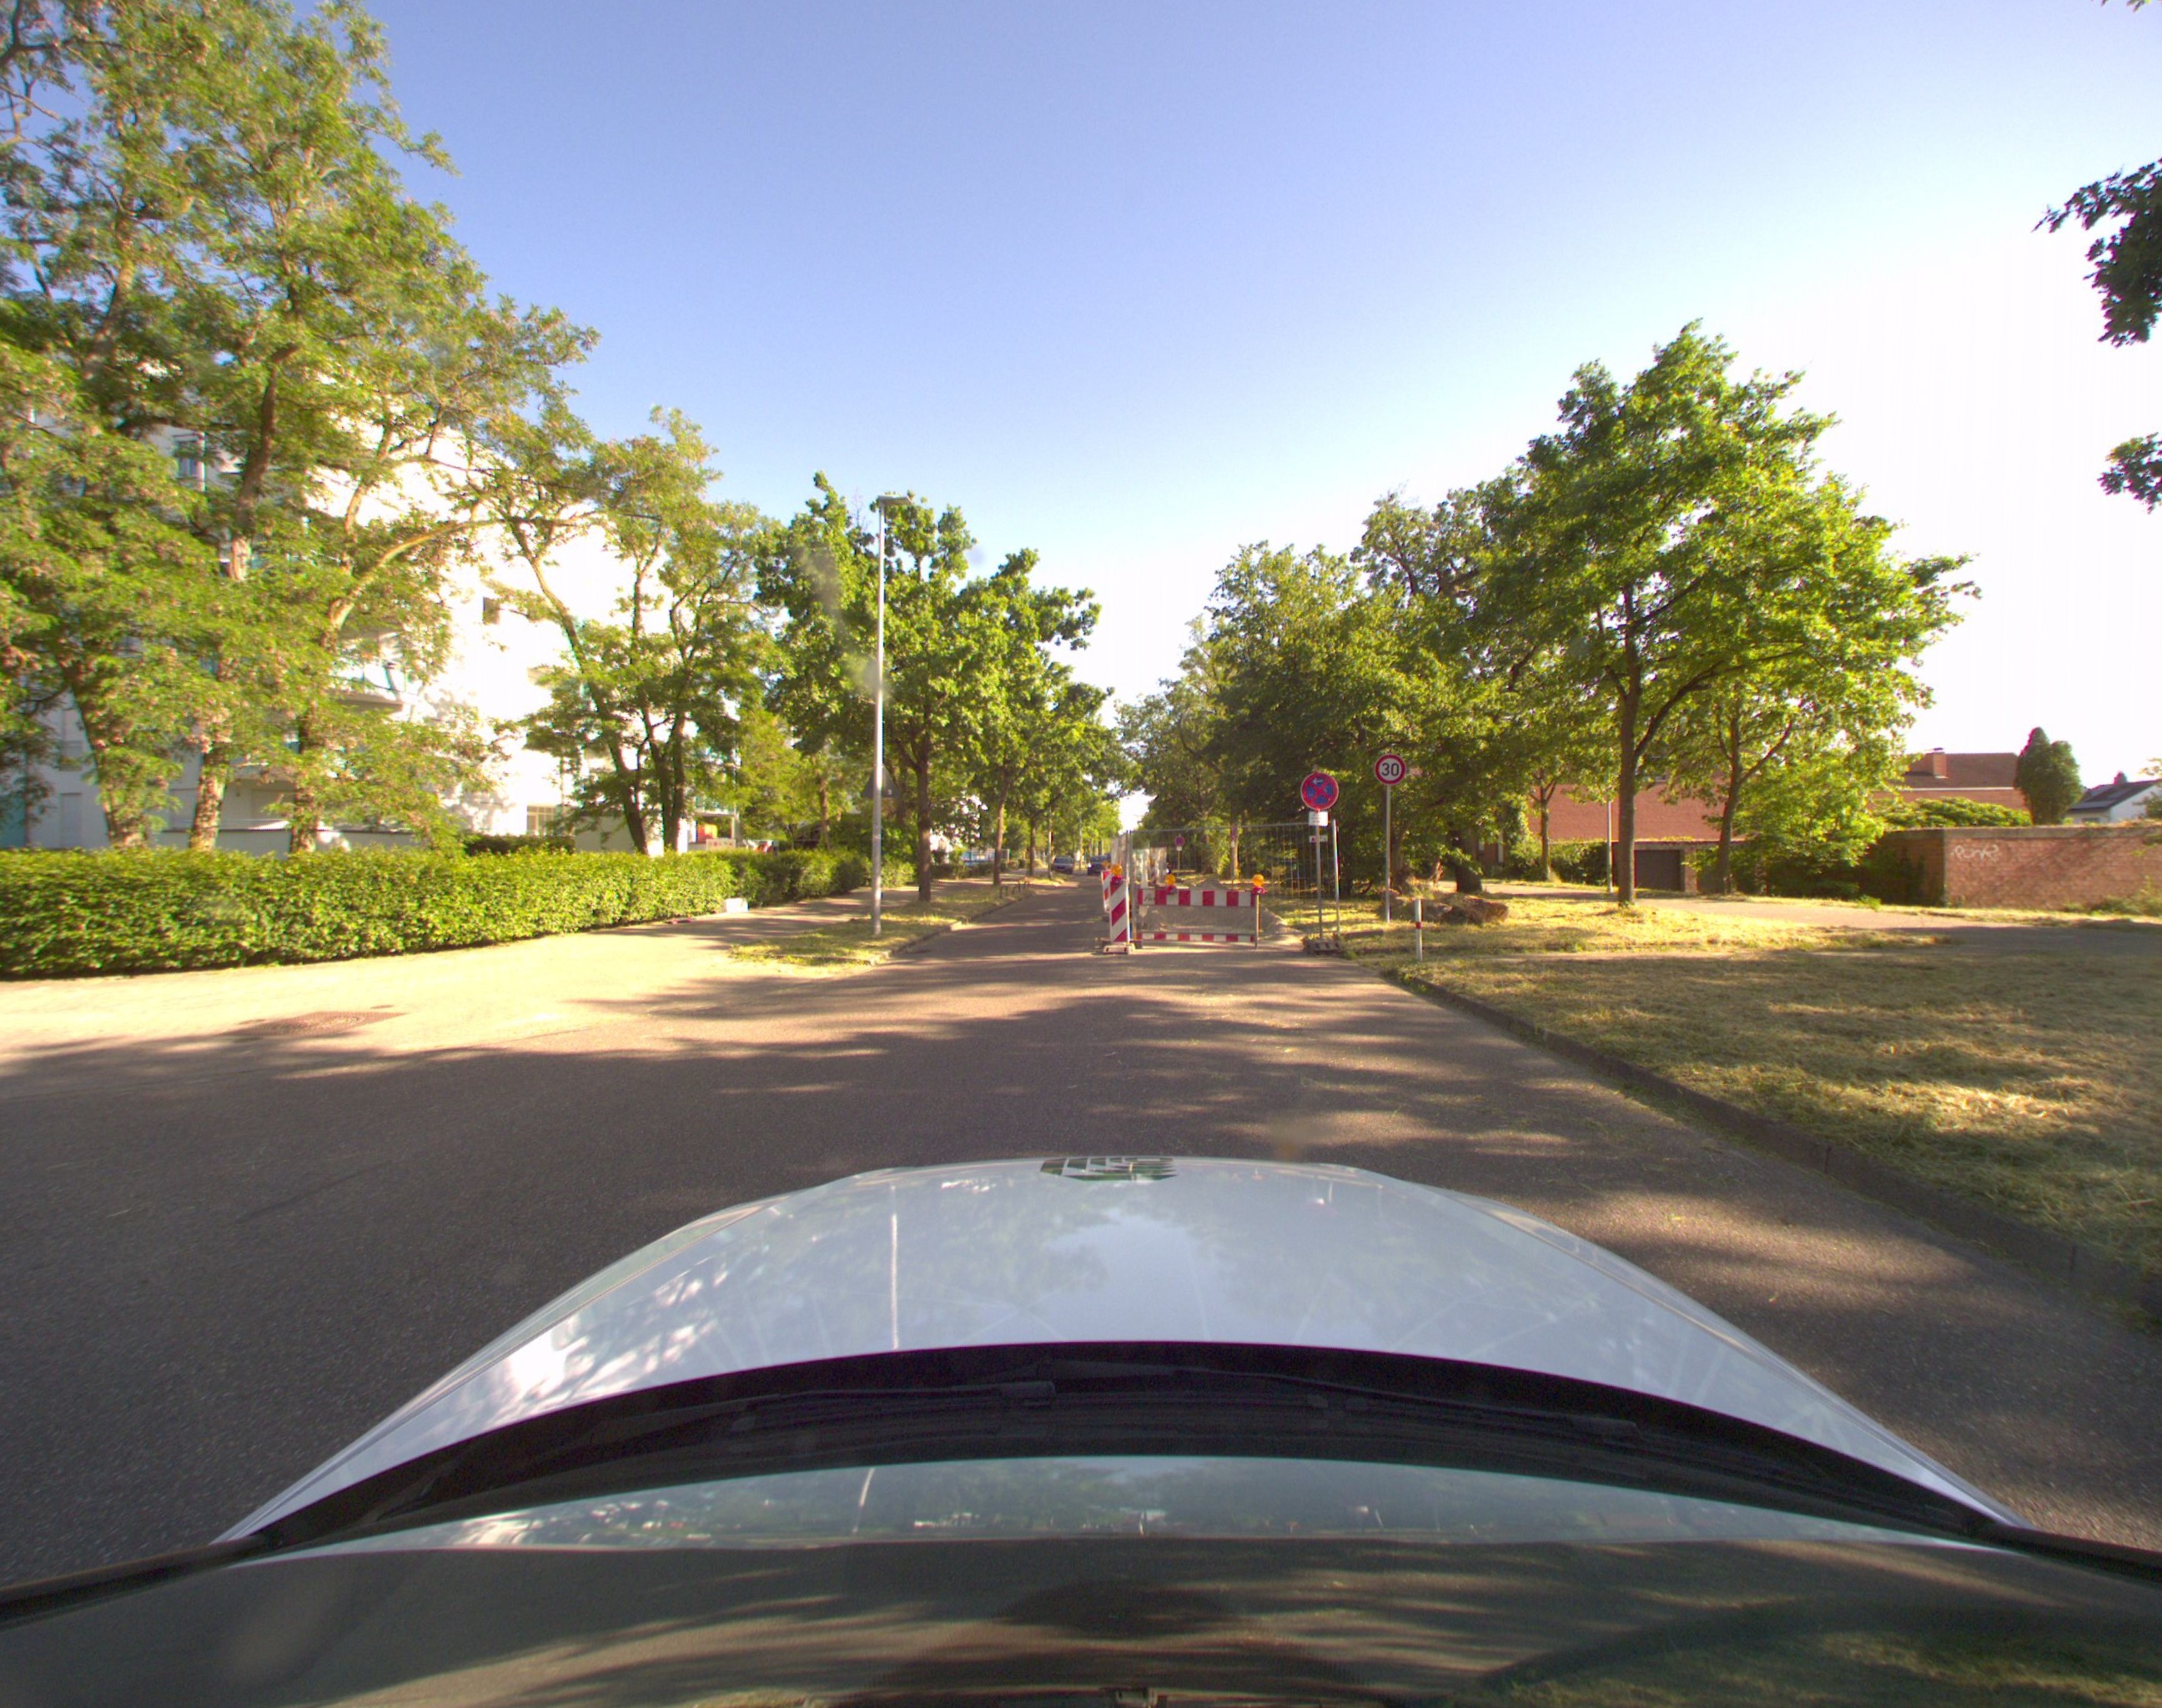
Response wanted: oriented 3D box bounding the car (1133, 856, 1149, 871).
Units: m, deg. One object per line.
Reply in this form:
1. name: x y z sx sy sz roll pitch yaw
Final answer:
1. car: 5.717 0.910 77.656 1.356 1.302 3.481 1 -1 1

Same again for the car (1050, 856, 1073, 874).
1. car: -1.620 0.908 68.140 1.744 1.478 3.838 0 0 2

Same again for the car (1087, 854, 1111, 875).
1. car: 1.514 0.814 68.059 1.814 1.625 4.496 -2 0 3

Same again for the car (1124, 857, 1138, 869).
1. car: 5.549 0.967 90.650 1.356 1.302 3.481 1 -1 1

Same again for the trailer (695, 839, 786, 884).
1. trailer: -16.365 0.340 39.436 1.964 2.042 4.442 0 0 10

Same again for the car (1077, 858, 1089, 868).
1. car: 0.266 1.165 103.434 1.356 1.302 3.481 1 -1 1
